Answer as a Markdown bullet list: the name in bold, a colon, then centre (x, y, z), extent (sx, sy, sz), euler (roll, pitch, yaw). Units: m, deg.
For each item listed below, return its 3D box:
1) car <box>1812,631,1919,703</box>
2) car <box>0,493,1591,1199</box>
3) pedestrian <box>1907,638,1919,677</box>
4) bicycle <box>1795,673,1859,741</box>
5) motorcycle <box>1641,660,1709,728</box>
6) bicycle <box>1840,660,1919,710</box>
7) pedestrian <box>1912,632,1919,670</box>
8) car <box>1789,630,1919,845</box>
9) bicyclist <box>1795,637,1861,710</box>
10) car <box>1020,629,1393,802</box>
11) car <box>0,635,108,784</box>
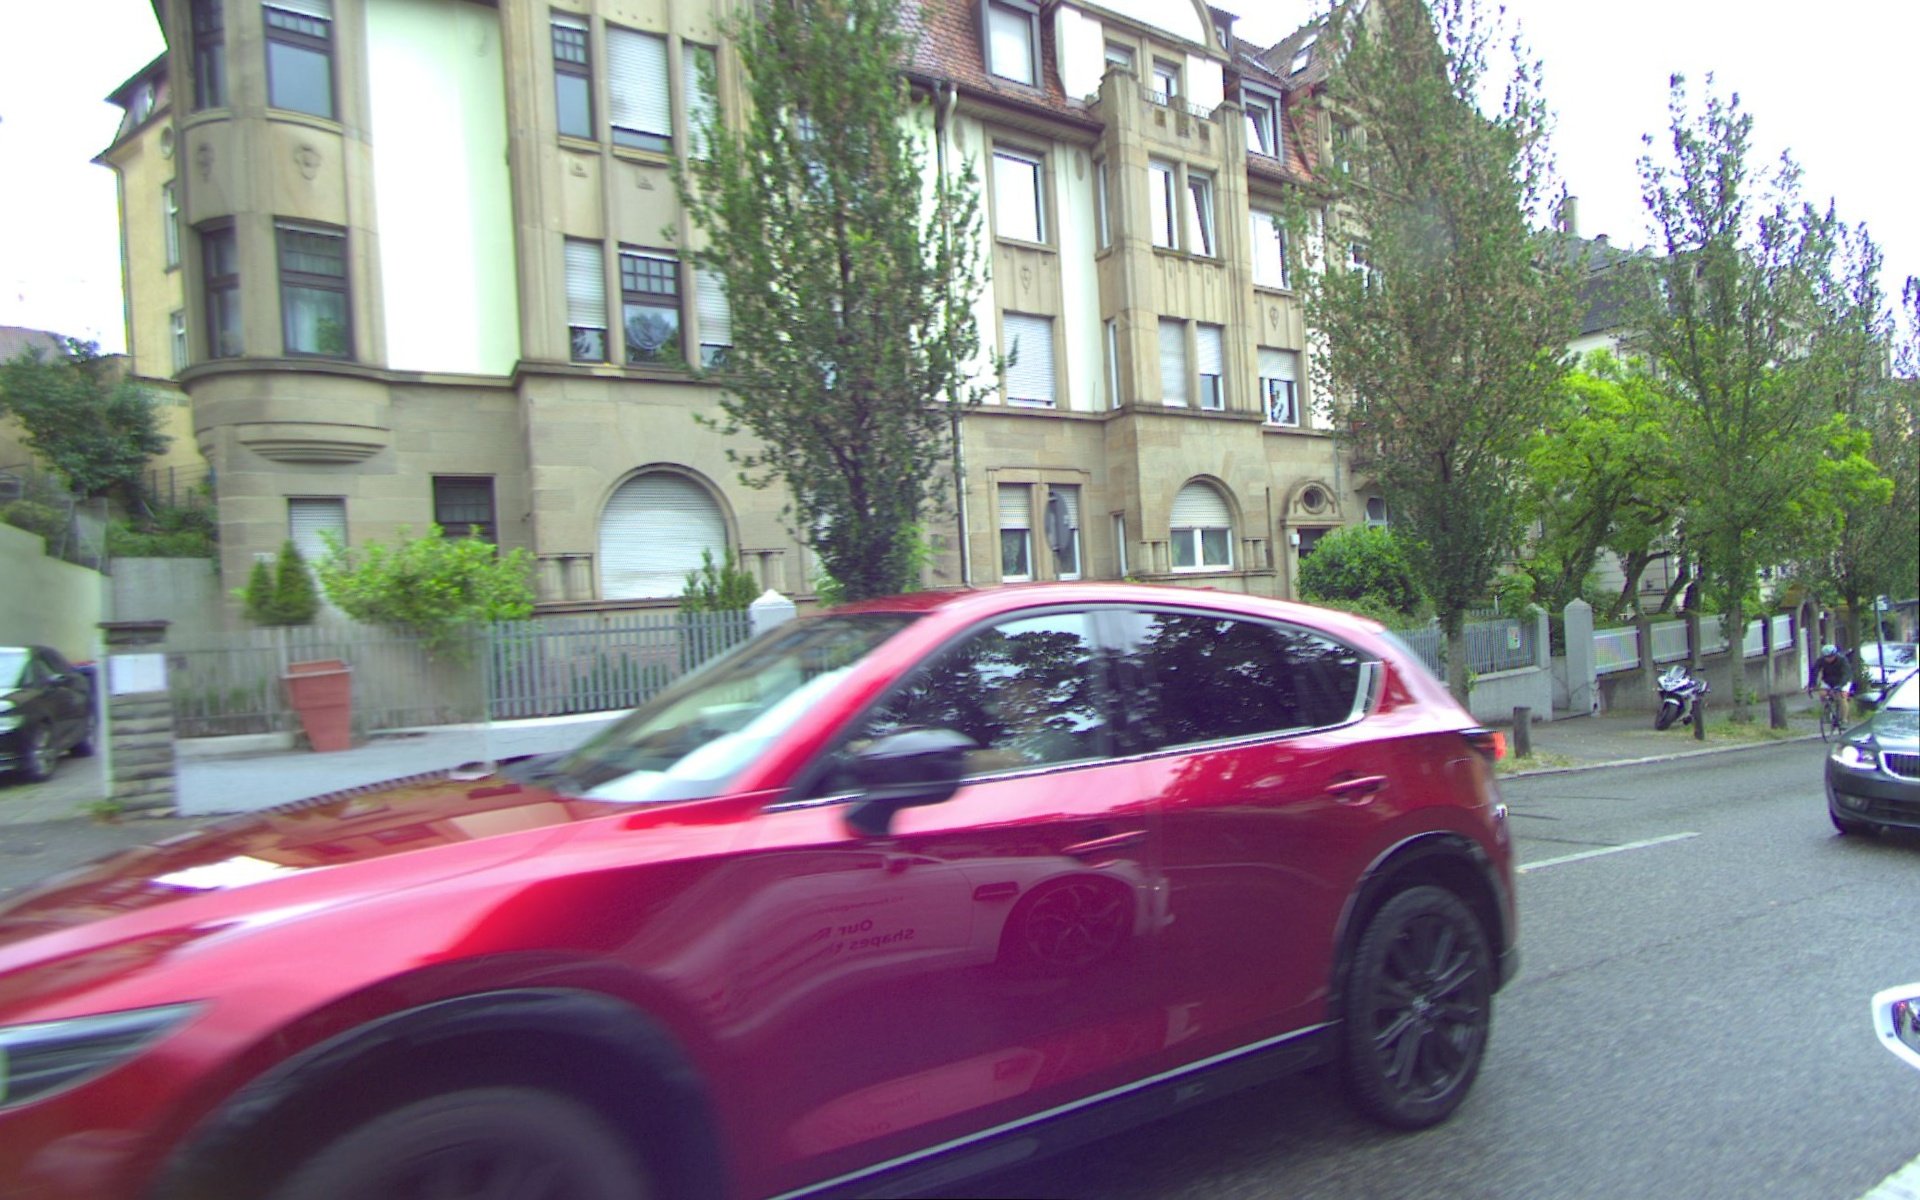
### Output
- **car**: centre (23.602, 1.700, 25.739), extent (4.159, 1.672, 1.775), euler (1, -6, -38)
- **car**: centre (-0.126, 0.742, 3.131), extent (4.231, 1.604, 1.836), euler (1, -4, -32)
- **pedestrian**: centre (34.214, 2.015, 35.605), extent (0.607, 1.360, 0.703), euler (1, -5, -34)
- **bicycle**: centre (15.031, 1.827, 17.393), extent (2.140, 0.995, 0.646), euler (1, 0, -44)
- **motorcycle**: centre (13.534, 1.748, 18.989), extent (2.140, 1.136, 0.646), euler (1, -1, -44)
- **bicycle**: centre (21.861, 2.012, 23.747), extent (0.377, 1.135, 1.451), euler (1, -6, -39)
- **pedestrian**: centre (34.826, 1.802, 36.088), extent (0.607, 1.360, 0.703), euler (1, -5, -34)
- **car**: centre (8.554, 0.992, 8.005), extent (4.234, 1.493, 1.729), euler (1, -3, -32)
- **bicyclist**: centre (15.062, 1.246, 17.417), extent (1.075, 1.185, 0.763), euler (1, 0, -44)
- **car**: centre (2.832, 1.188, 11.421), extent (3.951, 1.634, 1.807), euler (2, -1, -29)
- **car**: centre (-10.619, 1.121, 10.700), extent (1.768, 1.417, 3.534), euler (0, -3, -31)
